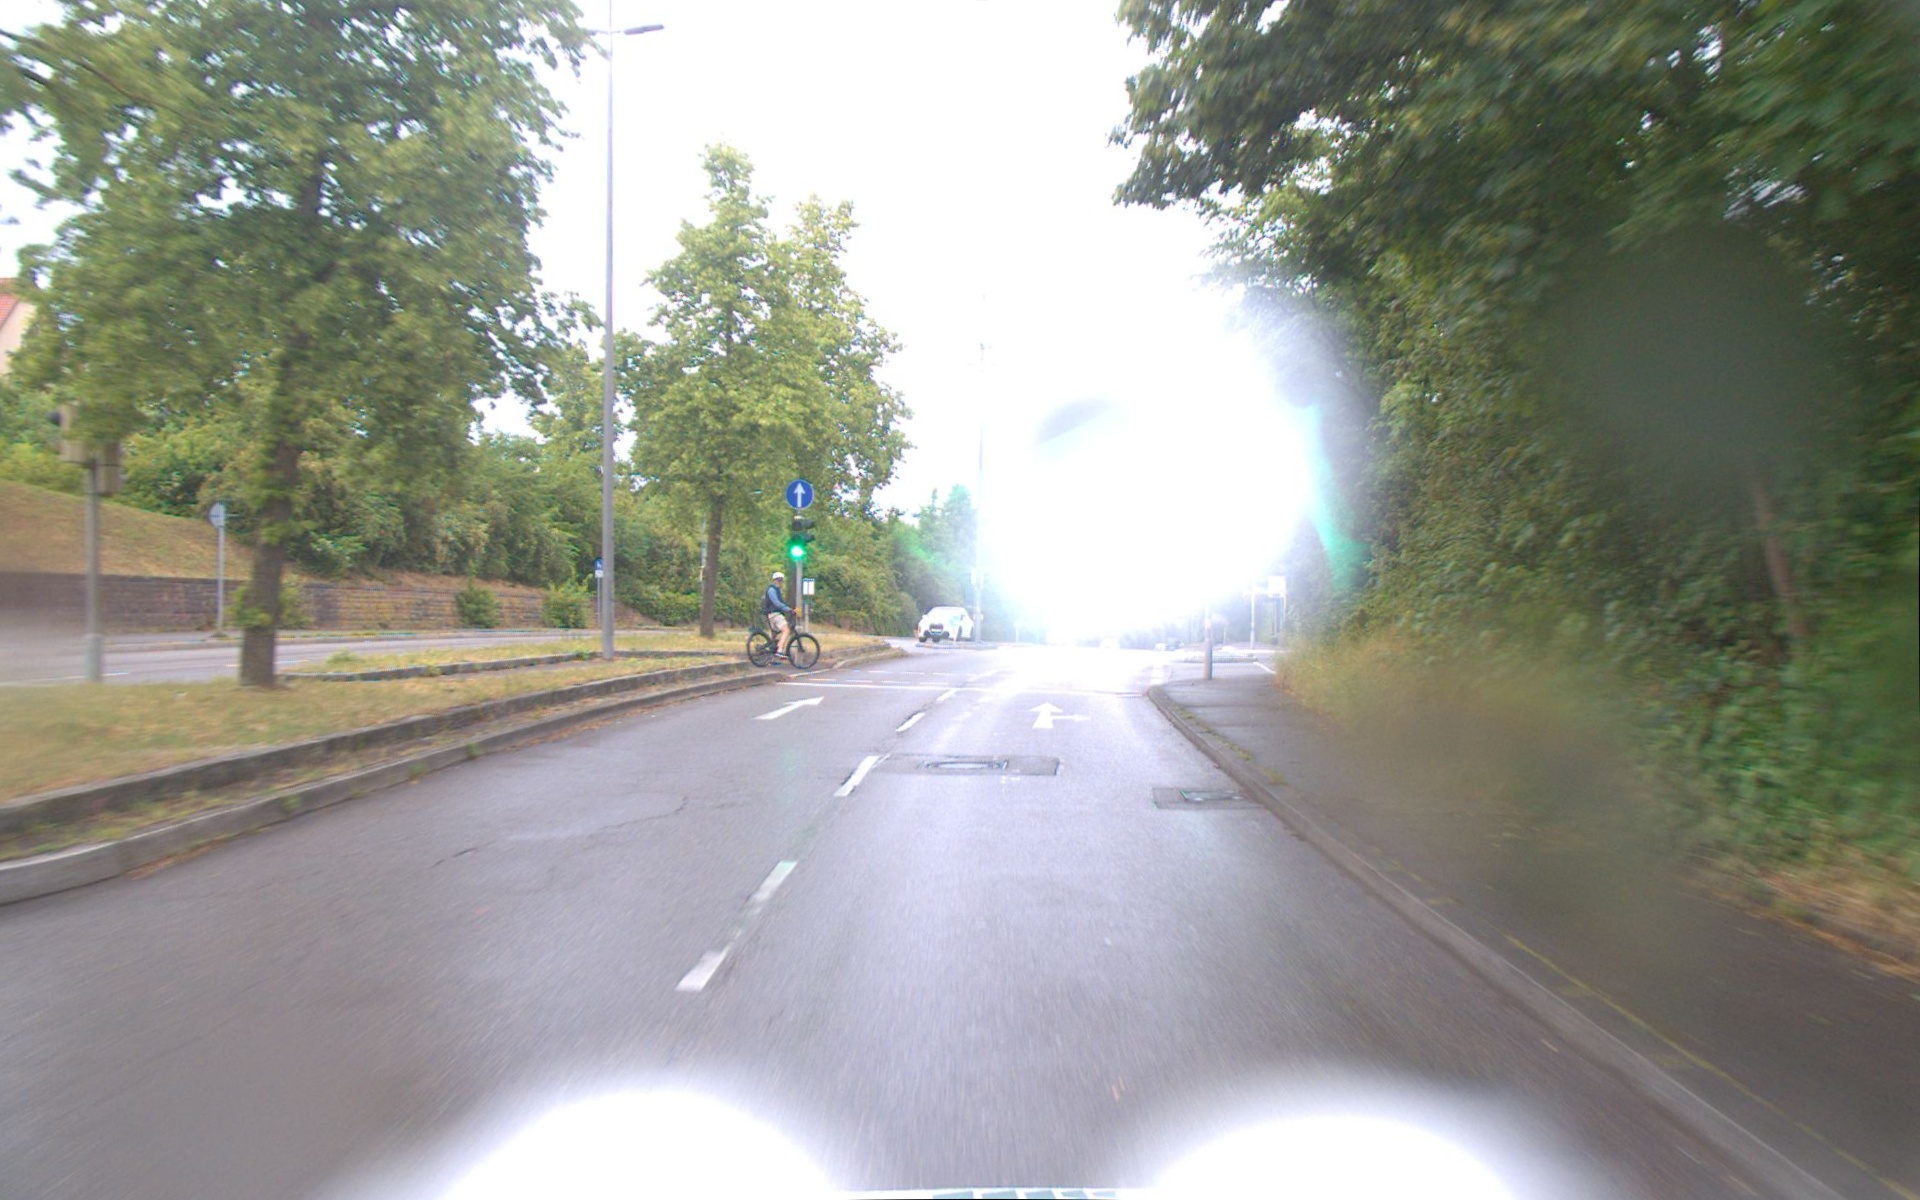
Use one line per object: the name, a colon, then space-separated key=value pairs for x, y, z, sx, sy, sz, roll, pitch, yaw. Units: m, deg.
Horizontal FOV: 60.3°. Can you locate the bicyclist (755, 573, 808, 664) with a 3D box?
bicyclist: x=-3.559 y=0.384 z=33.031 sx=0.712 sy=1.783 sz=0.797 roll=-3 pitch=-4 yaw=40

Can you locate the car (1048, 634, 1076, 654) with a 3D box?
car: x=8.197 y=3.537 z=132.170 sx=1.740 sy=1.498 sz=4.648 roll=1 pitch=-2 yaw=9

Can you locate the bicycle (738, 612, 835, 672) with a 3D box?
bicycle: x=-3.437 y=0.842 z=33.000 sx=0.544 sy=1.163 sz=2.128 roll=1 pitch=-1 yaw=40

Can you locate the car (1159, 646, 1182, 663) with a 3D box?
car: x=21.747 y=5.639 z=170.952 sx=1.903 sy=1.619 sz=3.930 roll=1 pitch=-1 yaw=14

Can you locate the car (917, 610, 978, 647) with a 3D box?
car: x=-0.565 y=1.379 z=79.160 sx=1.903 sy=1.664 sz=5.009 roll=1 pitch=-1 yaw=11

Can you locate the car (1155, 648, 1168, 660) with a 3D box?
car: x=29.206 y=7.896 z=240.015 sx=1.688 sy=1.593 sz=3.895 roll=3 pitch=-2 yaw=9

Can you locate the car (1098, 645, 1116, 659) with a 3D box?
car: x=17.113 y=6.029 z=192.107 sx=1.687 sy=1.619 sz=4.003 roll=1 pitch=-1 yaw=10
